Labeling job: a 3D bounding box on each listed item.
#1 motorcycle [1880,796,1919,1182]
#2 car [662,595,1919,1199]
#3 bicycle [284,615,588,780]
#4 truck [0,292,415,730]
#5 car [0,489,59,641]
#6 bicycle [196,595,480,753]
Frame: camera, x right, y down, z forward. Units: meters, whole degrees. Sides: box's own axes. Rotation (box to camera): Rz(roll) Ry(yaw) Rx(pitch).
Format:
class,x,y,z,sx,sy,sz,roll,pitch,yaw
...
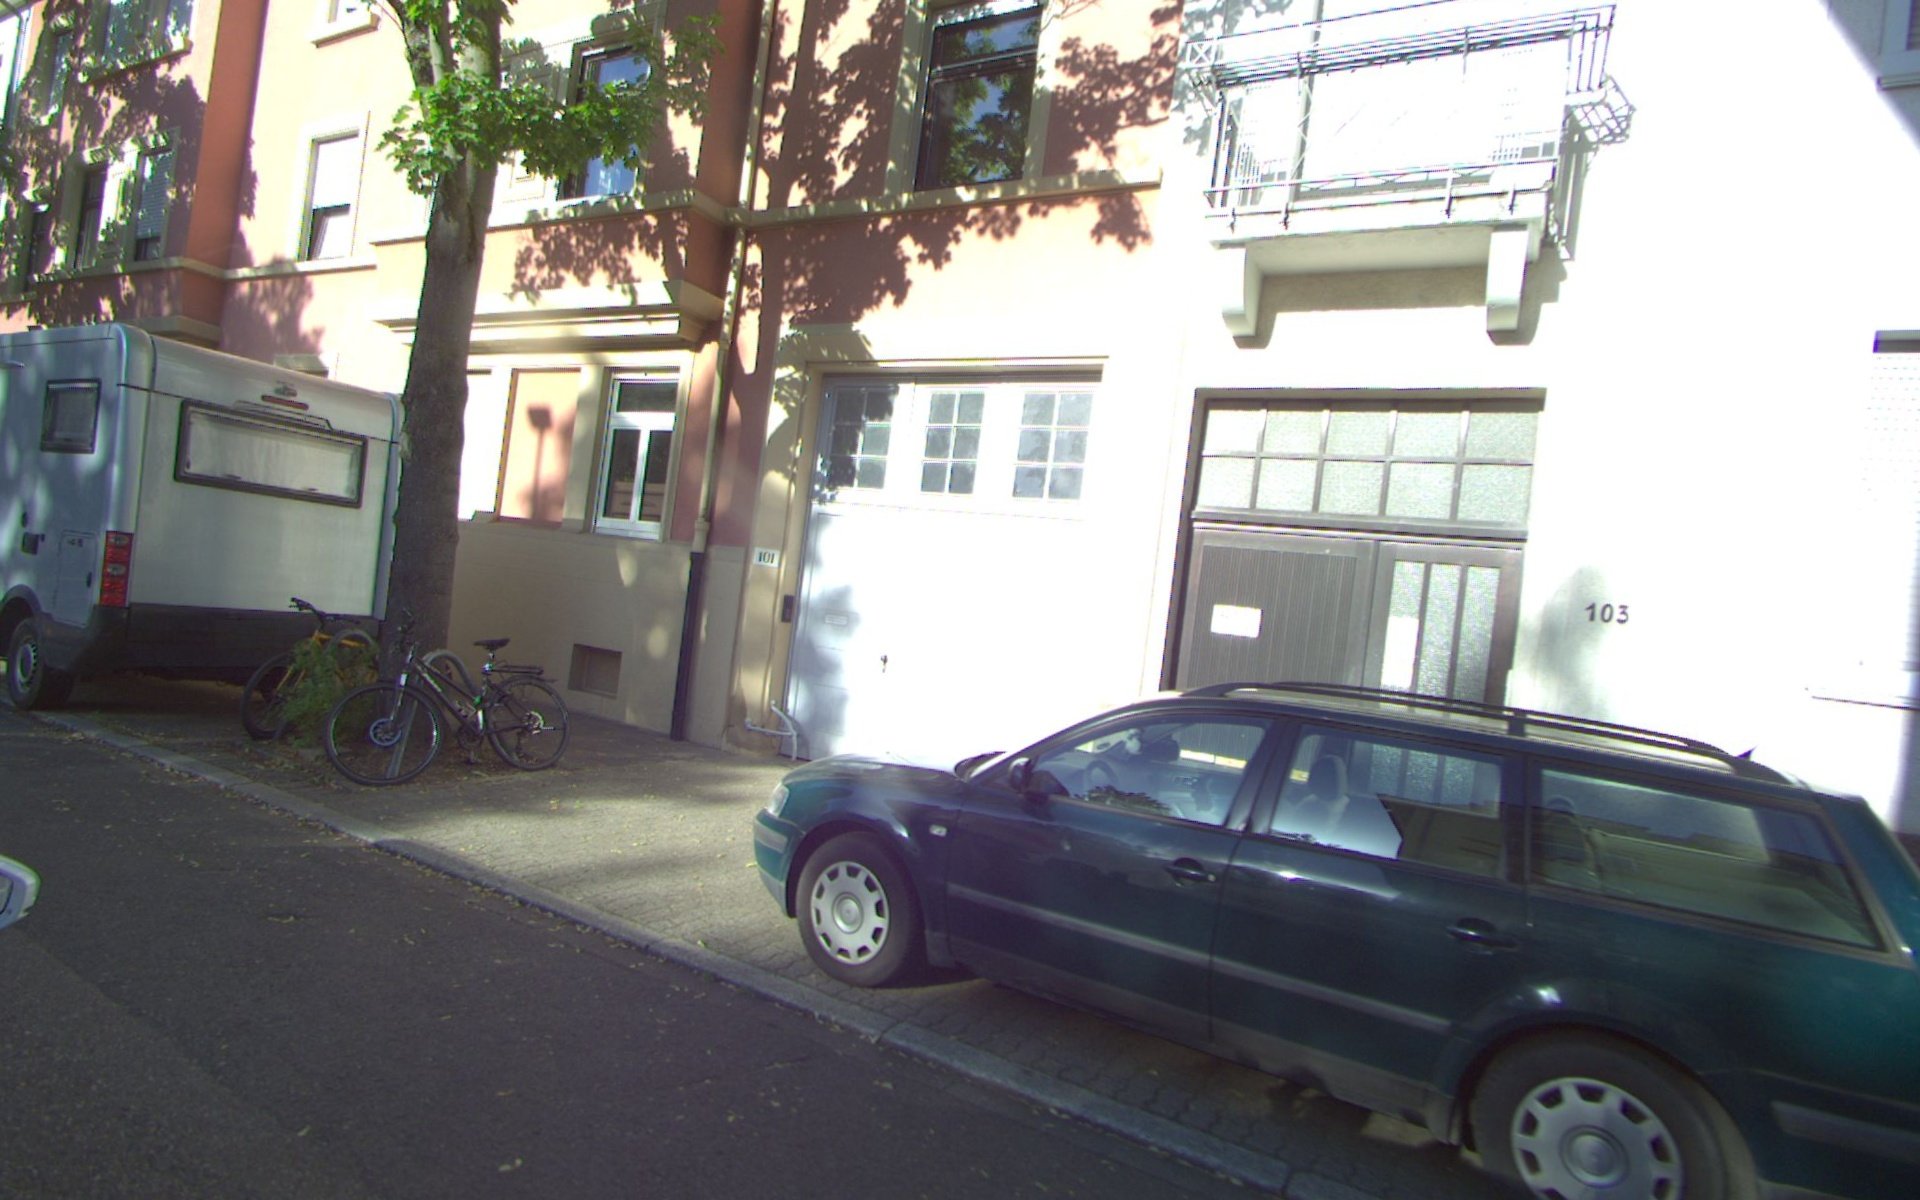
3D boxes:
class,x,y,z,sx,sy,sz,roll,pitch,yaw
motorcycle,4.514,1.504,3.117,2.196,1.432,0.863,7,-1,31
car,1.150,1.045,4.194,4.701,1.548,1.753,7,0,31
bicycle,-3.608,0.686,7.106,0.569,0.960,1.789,7,-1,31
truck,-7.952,-0.874,9.259,6.004,3.007,2.076,7,2,29
car,-13.478,-0.705,12.403,4.858,1.736,1.890,7,-1,28
bicycle,-4.753,0.577,7.835,0.694,1.011,1.708,7,-1,23
